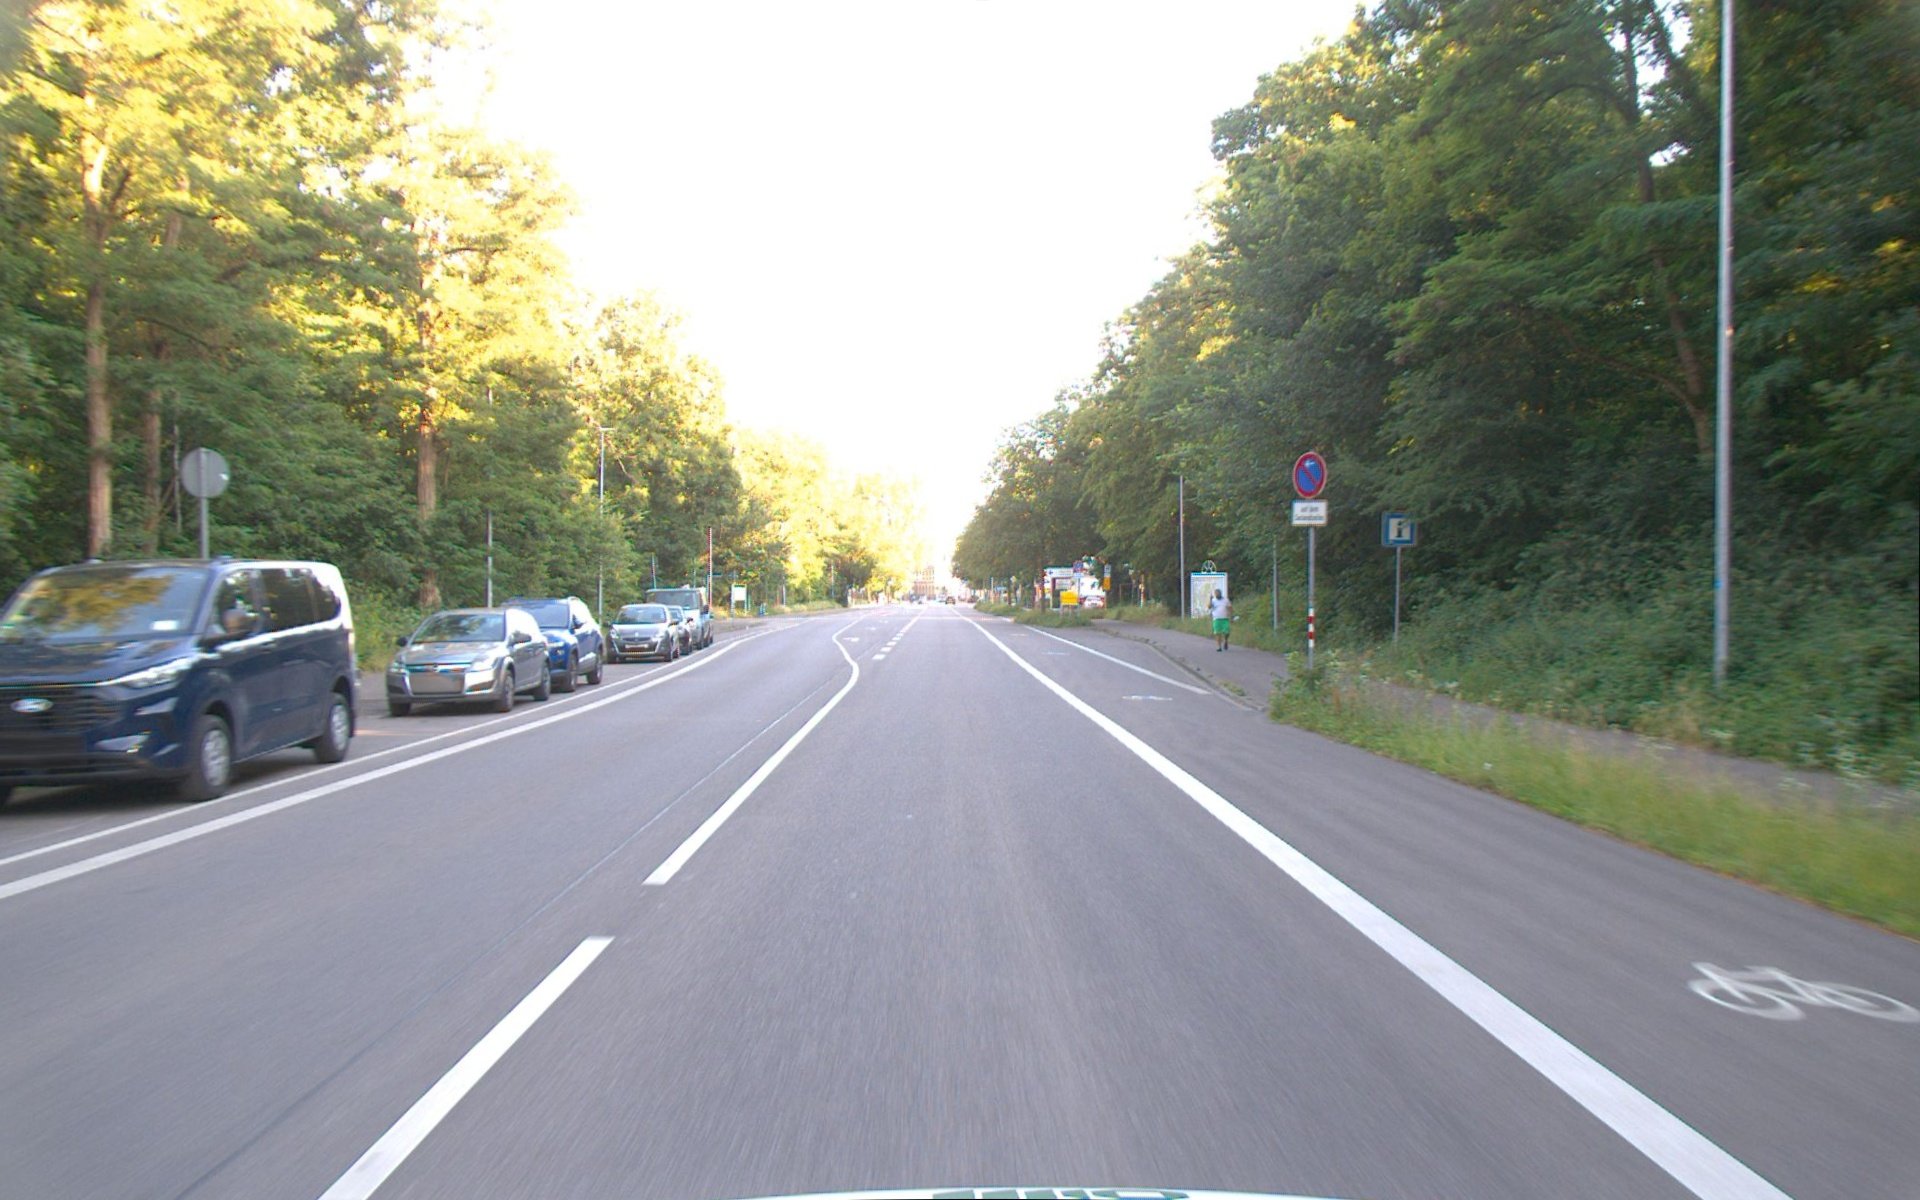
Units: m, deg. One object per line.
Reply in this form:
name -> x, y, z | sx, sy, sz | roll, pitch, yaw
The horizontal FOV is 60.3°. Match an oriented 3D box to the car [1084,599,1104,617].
car -> 12.635, 0.747, 156.296 | 1.733, 1.611, 4.820 | 1, 0, 3

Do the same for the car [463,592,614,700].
car -> -7.509, 0.771, 29.871 | 1.710, 1.742, 4.520 | -2, 0, -3

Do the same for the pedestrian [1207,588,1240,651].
pedestrian -> 7.565, 0.562, 47.551 | 0.821, 1.782, 0.726 | 0, 0, 0

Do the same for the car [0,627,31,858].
car -> -6.878, 0.940, 8.572 | 1.636, 1.458, 4.446 | -2, 0, -1

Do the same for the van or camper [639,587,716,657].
van or camper -> -9.298, 0.704, 54.810 | 1.992, 2.130, 5.009 | -2, 0, -5

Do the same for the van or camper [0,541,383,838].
van or camper -> -6.911, 0.650, 14.453 | 1.962, 2.053, 5.458 | -3, 0, -3

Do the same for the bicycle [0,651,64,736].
bicycle -> -12.001, 1.174, 20.911 | 0.444, 0.992, 1.717 | -1, 0, -1

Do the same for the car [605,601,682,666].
car -> -8.279, 0.847, 43.553 | 1.585, 1.561, 4.035 | -2, 0, -6

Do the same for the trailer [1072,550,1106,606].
trailer -> 13.130, -2.207, 168.897 | 2.958, 5.557, 7.934 | 0, 0, 0

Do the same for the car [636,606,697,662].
car -> -8.681, 0.969, 49.073 | 1.513, 1.519, 3.966 | -2, 0, -7

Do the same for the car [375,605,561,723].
car -> -7.221, 0.880, 24.684 | 1.635, 1.527, 4.244 | -2, 0, -3
